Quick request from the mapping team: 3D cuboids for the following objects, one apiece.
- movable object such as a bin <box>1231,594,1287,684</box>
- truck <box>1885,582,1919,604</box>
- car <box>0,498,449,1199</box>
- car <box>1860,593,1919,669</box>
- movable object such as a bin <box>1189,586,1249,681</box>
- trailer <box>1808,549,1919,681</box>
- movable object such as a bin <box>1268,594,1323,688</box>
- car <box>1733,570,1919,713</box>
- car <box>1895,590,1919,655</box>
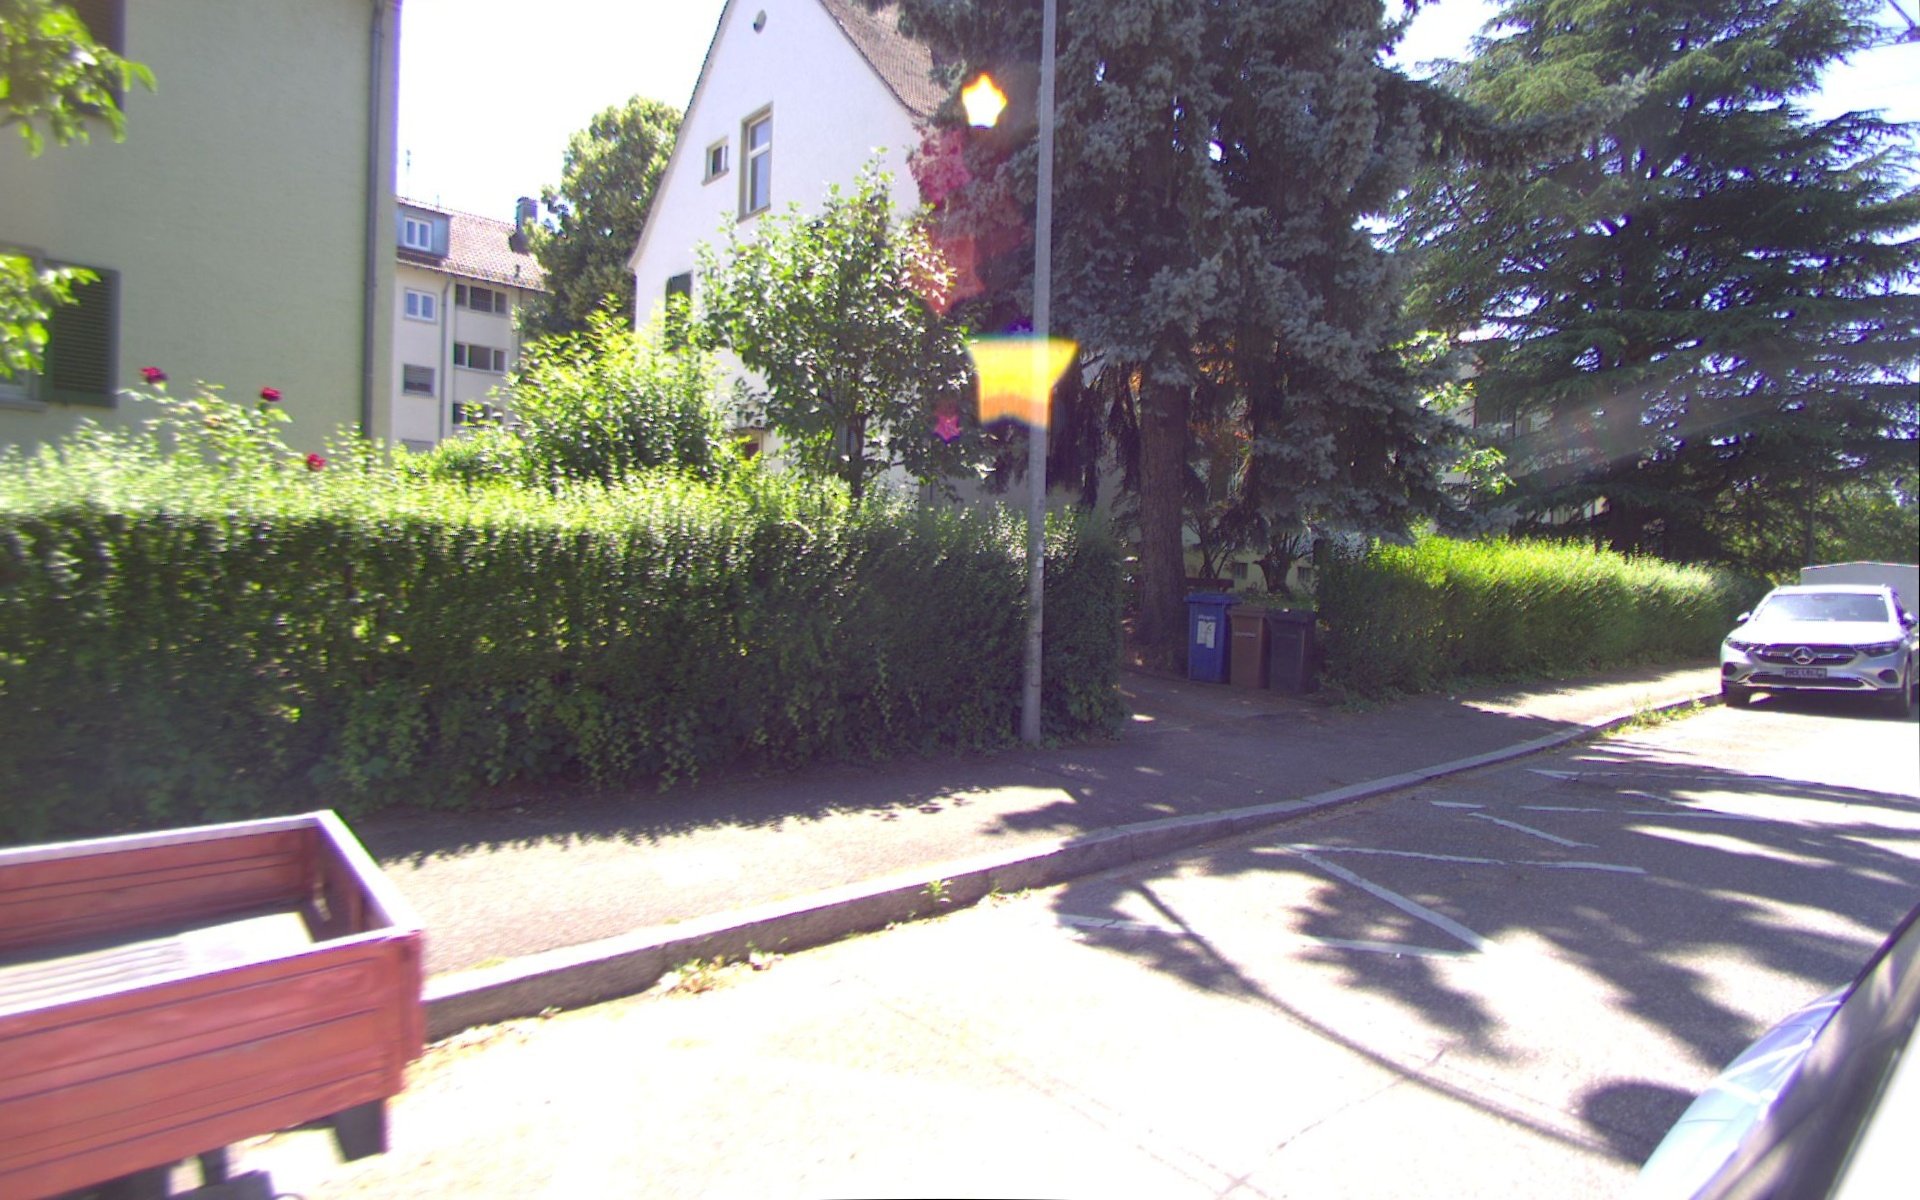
[{"bbox_3d":[3.420,0.434,11.575,0.464,1.004,0.425,1,0,-40],"label":"movable object such as a bin"},{"bbox_3d":[108.461,-0.810,116.381,2.121,2.368,6.353,3,2,35],"label":"truck"},{"bbox_3d":[-2.344,0.606,1.473,2.660,1.514,1.263,0,0,-39],"label":"car"},{"bbox_3d":[19.582,0.569,20.459,4.185,1.413,1.617,-1,1,-42],"label":"car"},{"bbox_3d":[3.056,0.380,11.933,0.549,1.095,0.449,1,0,-40],"label":"movable object such as a bin"},{"bbox_3d":[16.222,0.244,17.694,3.645,2.094,1.682,1,0,-43],"label":"trailer"},{"bbox_3d":[3.721,0.441,11.234,0.441,1.004,0.405,1,0,-40],"label":"movable object such as a bin"},{"bbox_3d":[12.256,0.492,13.967,4.525,1.652,1.774,1,0,-43],"label":"car"},{"bbox_3d":[23.653,0.537,24.109,3.993,1.488,1.617,0,1,-41],"label":"car"}]
